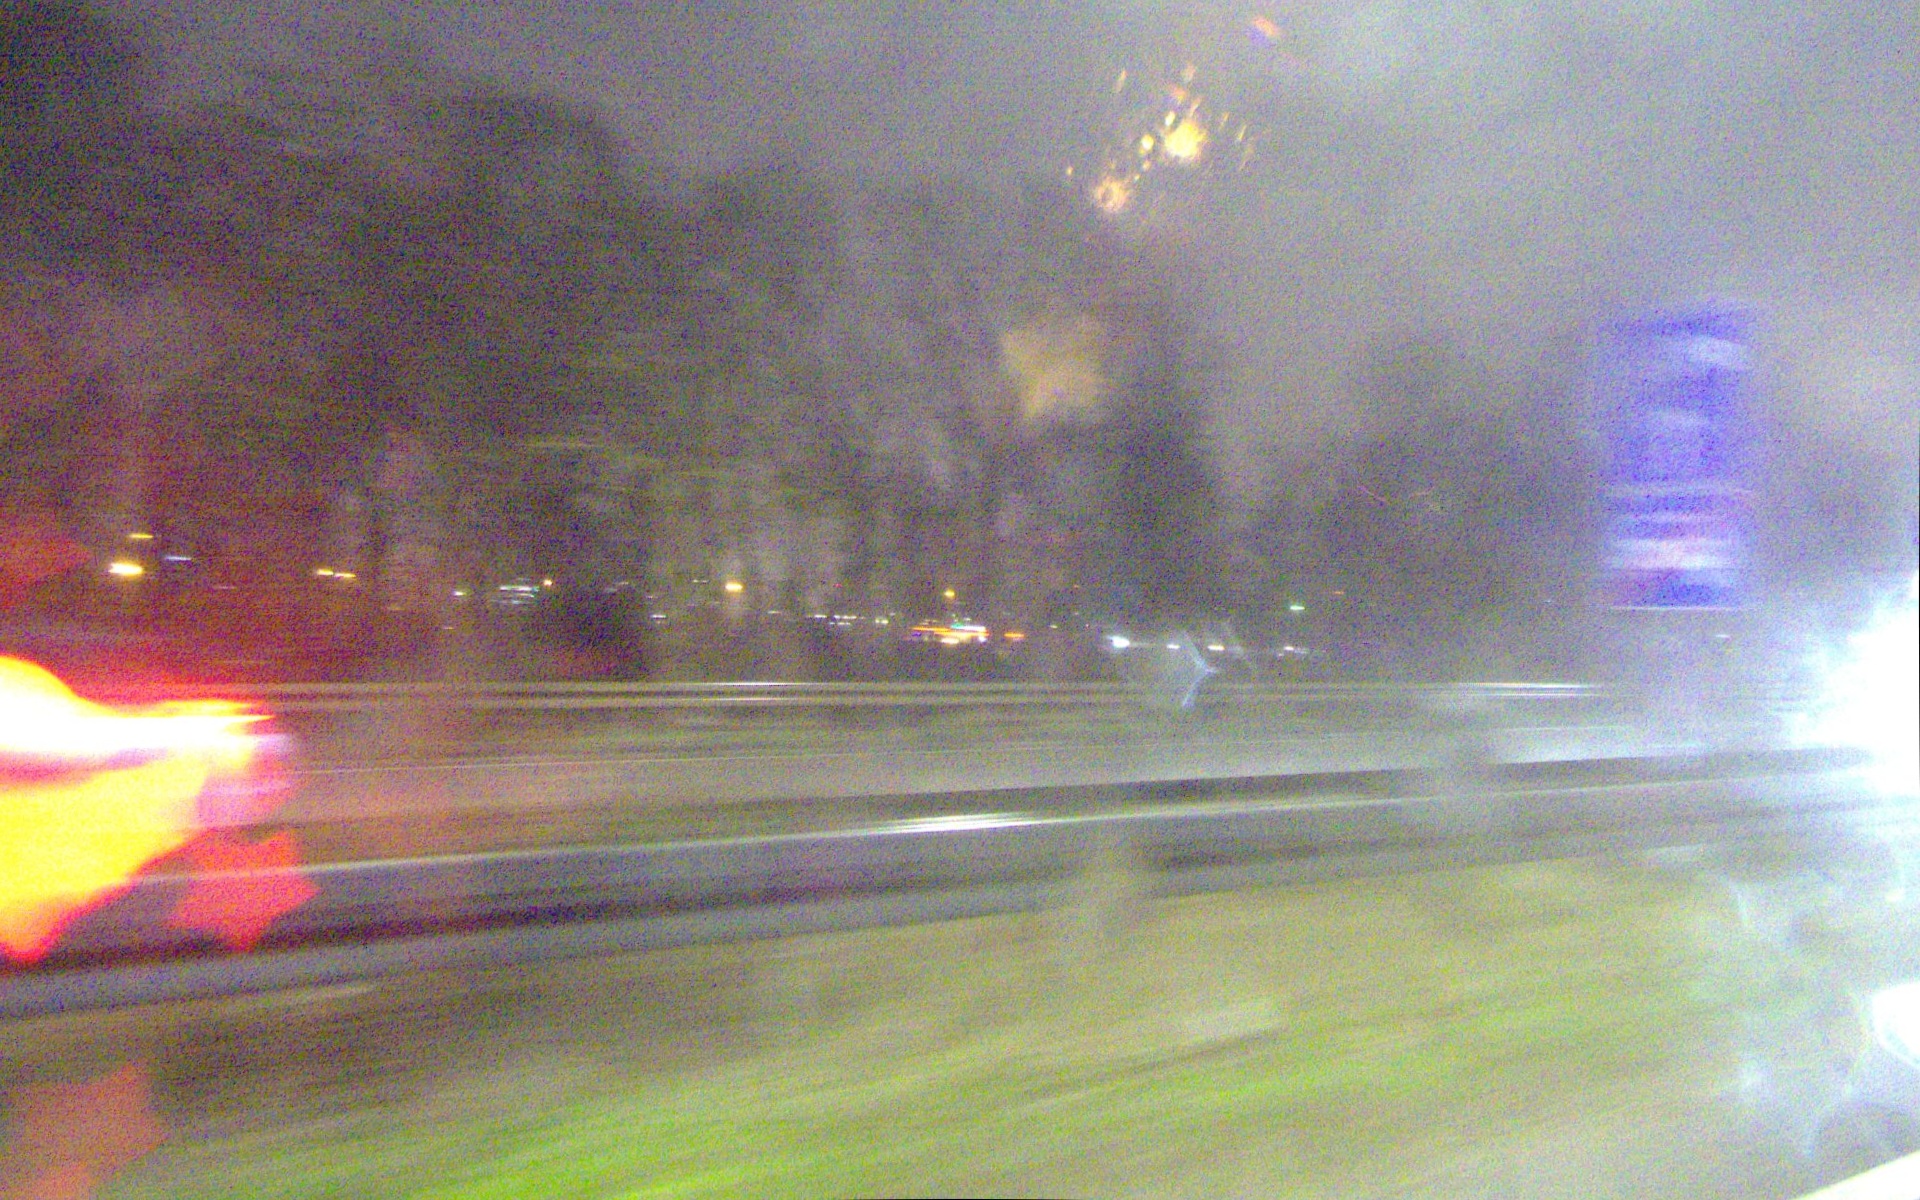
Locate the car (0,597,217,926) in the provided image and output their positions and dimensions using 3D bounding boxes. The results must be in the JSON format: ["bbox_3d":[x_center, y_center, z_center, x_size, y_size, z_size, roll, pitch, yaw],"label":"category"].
[{"bbox_3d":[-6.228,0.642,4.239,4.680,1.400,1.606,2,-1,-24],"label":"car"}]
